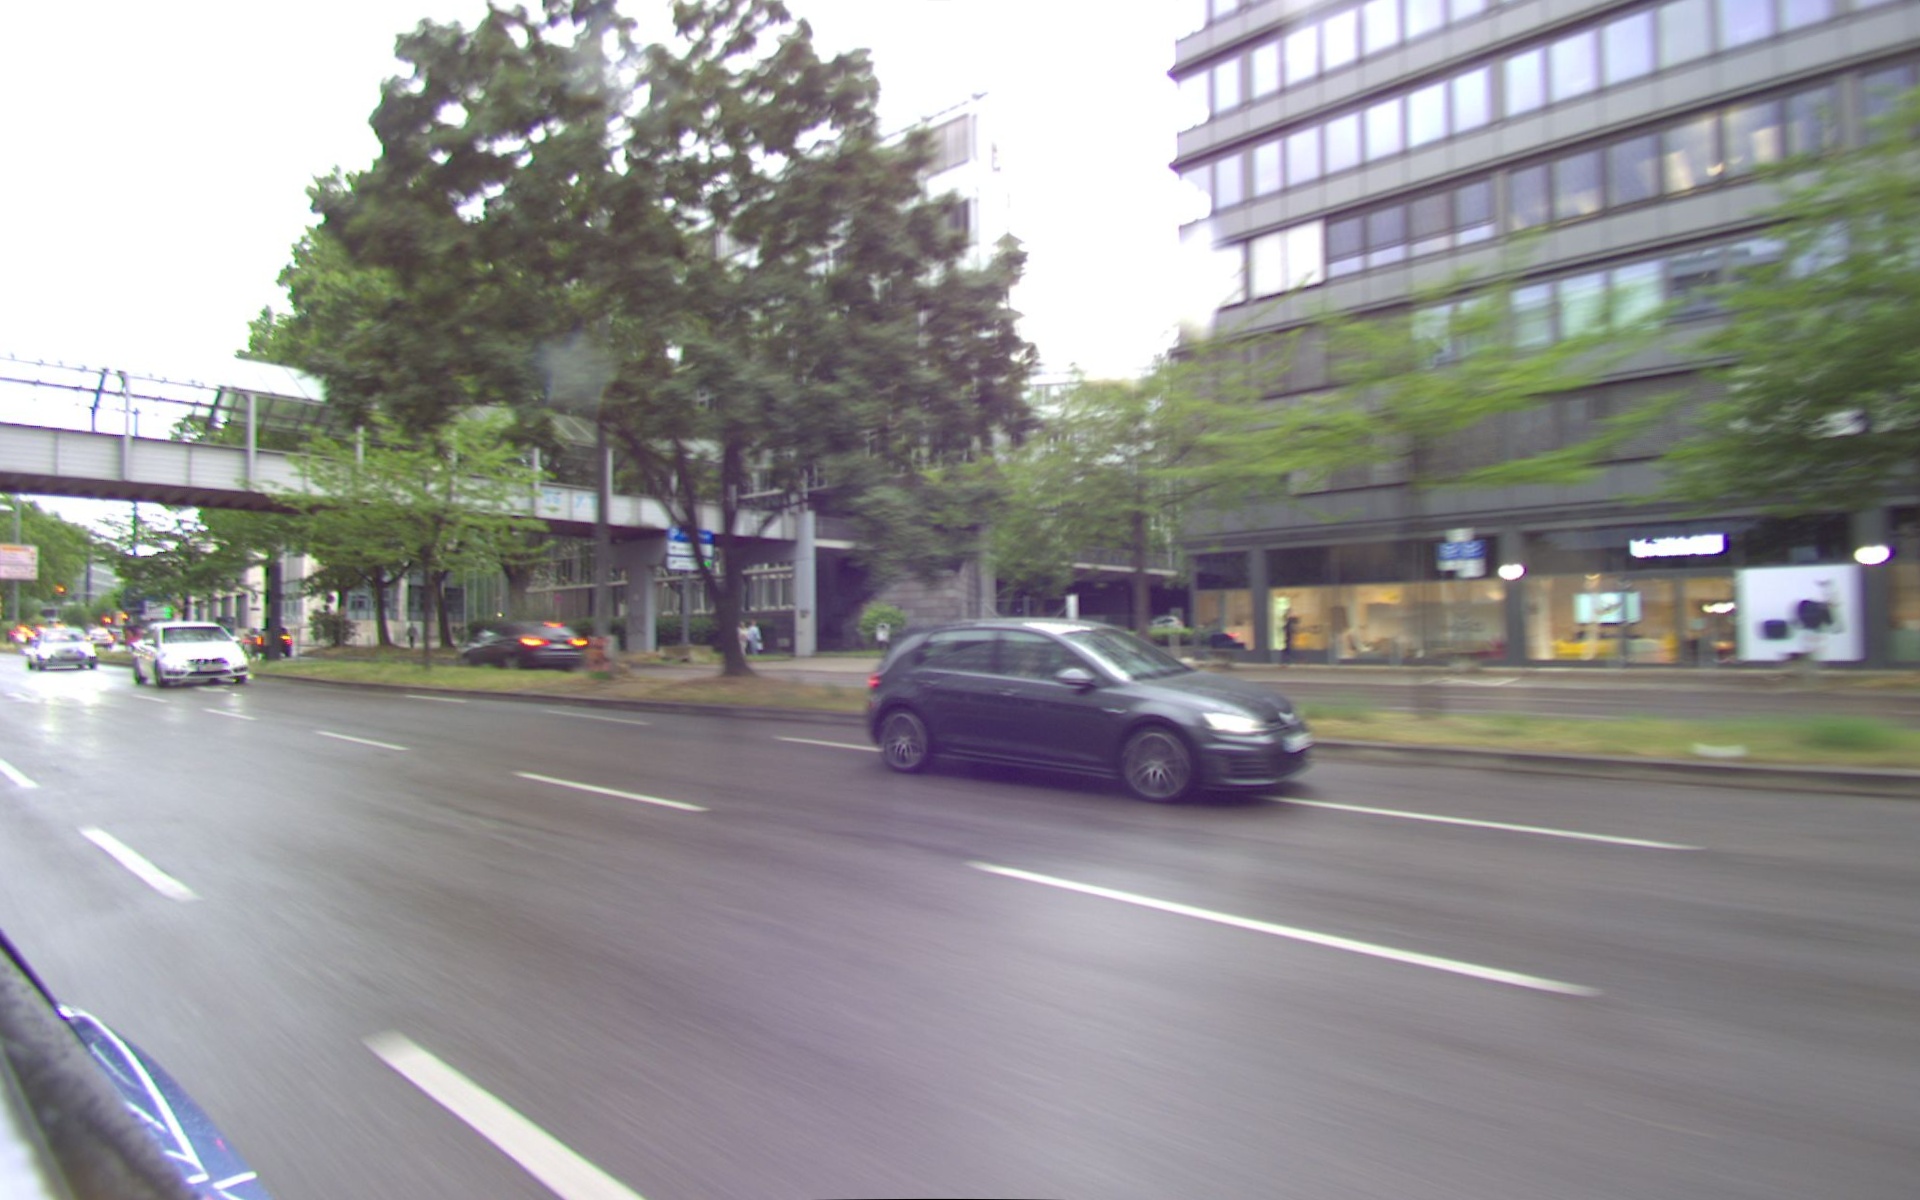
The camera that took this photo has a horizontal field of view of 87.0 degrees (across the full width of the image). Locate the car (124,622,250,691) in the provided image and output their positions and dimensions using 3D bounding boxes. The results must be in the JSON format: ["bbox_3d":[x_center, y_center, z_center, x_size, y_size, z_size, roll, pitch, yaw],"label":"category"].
[{"bbox_3d":[-19.669,1.368,25.693,3.998,1.608,1.758,-1,-1,41],"label":"car"}]

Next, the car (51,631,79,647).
[{"bbox_3d":[-89.136,3.858,100.771,4.397,1.443,1.707,-1,-2,45],"label":"car"}]

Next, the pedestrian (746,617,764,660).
[{"bbox_3d":[-8.976,1.684,44.333,0.511,1.821,0.599,-3,-2,41],"label":"pedestrian"}]

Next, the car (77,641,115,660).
[{"bbox_3d":[-70.486,4.078,82.550,4.076,1.475,1.645,-1,-4,39],"label":"car"}]

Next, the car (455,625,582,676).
[{"bbox_3d":[-12.186,1.346,27.868,3.611,1.321,1.609,-1,-1,36],"label":"car"}]

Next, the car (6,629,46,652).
[{"bbox_3d":[-75.113,3.223,81.360,4.678,1.693,1.854,-1,-2,41],"label":"car"}]

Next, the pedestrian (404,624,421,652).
[{"bbox_3d":[-36.309,2.527,67.136,0.802,1.821,0.727,-3,-2,41],"label":"pedestrian"}]

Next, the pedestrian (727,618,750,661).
[{"bbox_3d":[-9.561,1.705,43.646,0.759,1.821,0.590,-3,-2,41],"label":"pedestrian"}]

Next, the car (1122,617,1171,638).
[{"bbox_3d":[13.590,1.981,73.642,3.457,1.434,1.607,-1,-2,12],"label":"car"}]

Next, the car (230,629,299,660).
[{"bbox_3d":[-41.900,2.681,60.916,5.179,1.782,1.980,-2,-5,39],"label":"car"}]

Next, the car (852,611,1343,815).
[{"bbox_3d":[1.119,0.871,9.260,4.117,1.463,1.767,-2,-1,38],"label":"car"}]

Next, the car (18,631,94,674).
[{"bbox_3d":[-33.529,1.904,37.532,3.491,1.452,1.592,-1,0,40],"label":"car"}]

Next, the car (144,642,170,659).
[{"bbox_3d":[-74.843,4.679,94.282,1.574,1.426,3.403,1,-2,-44],"label":"car"}]

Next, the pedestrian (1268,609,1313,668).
[{"bbox_3d":[9.941,1.153,30.452,1.056,1.728,0.735,-2,-2,40],"label":"pedestrian"}]
